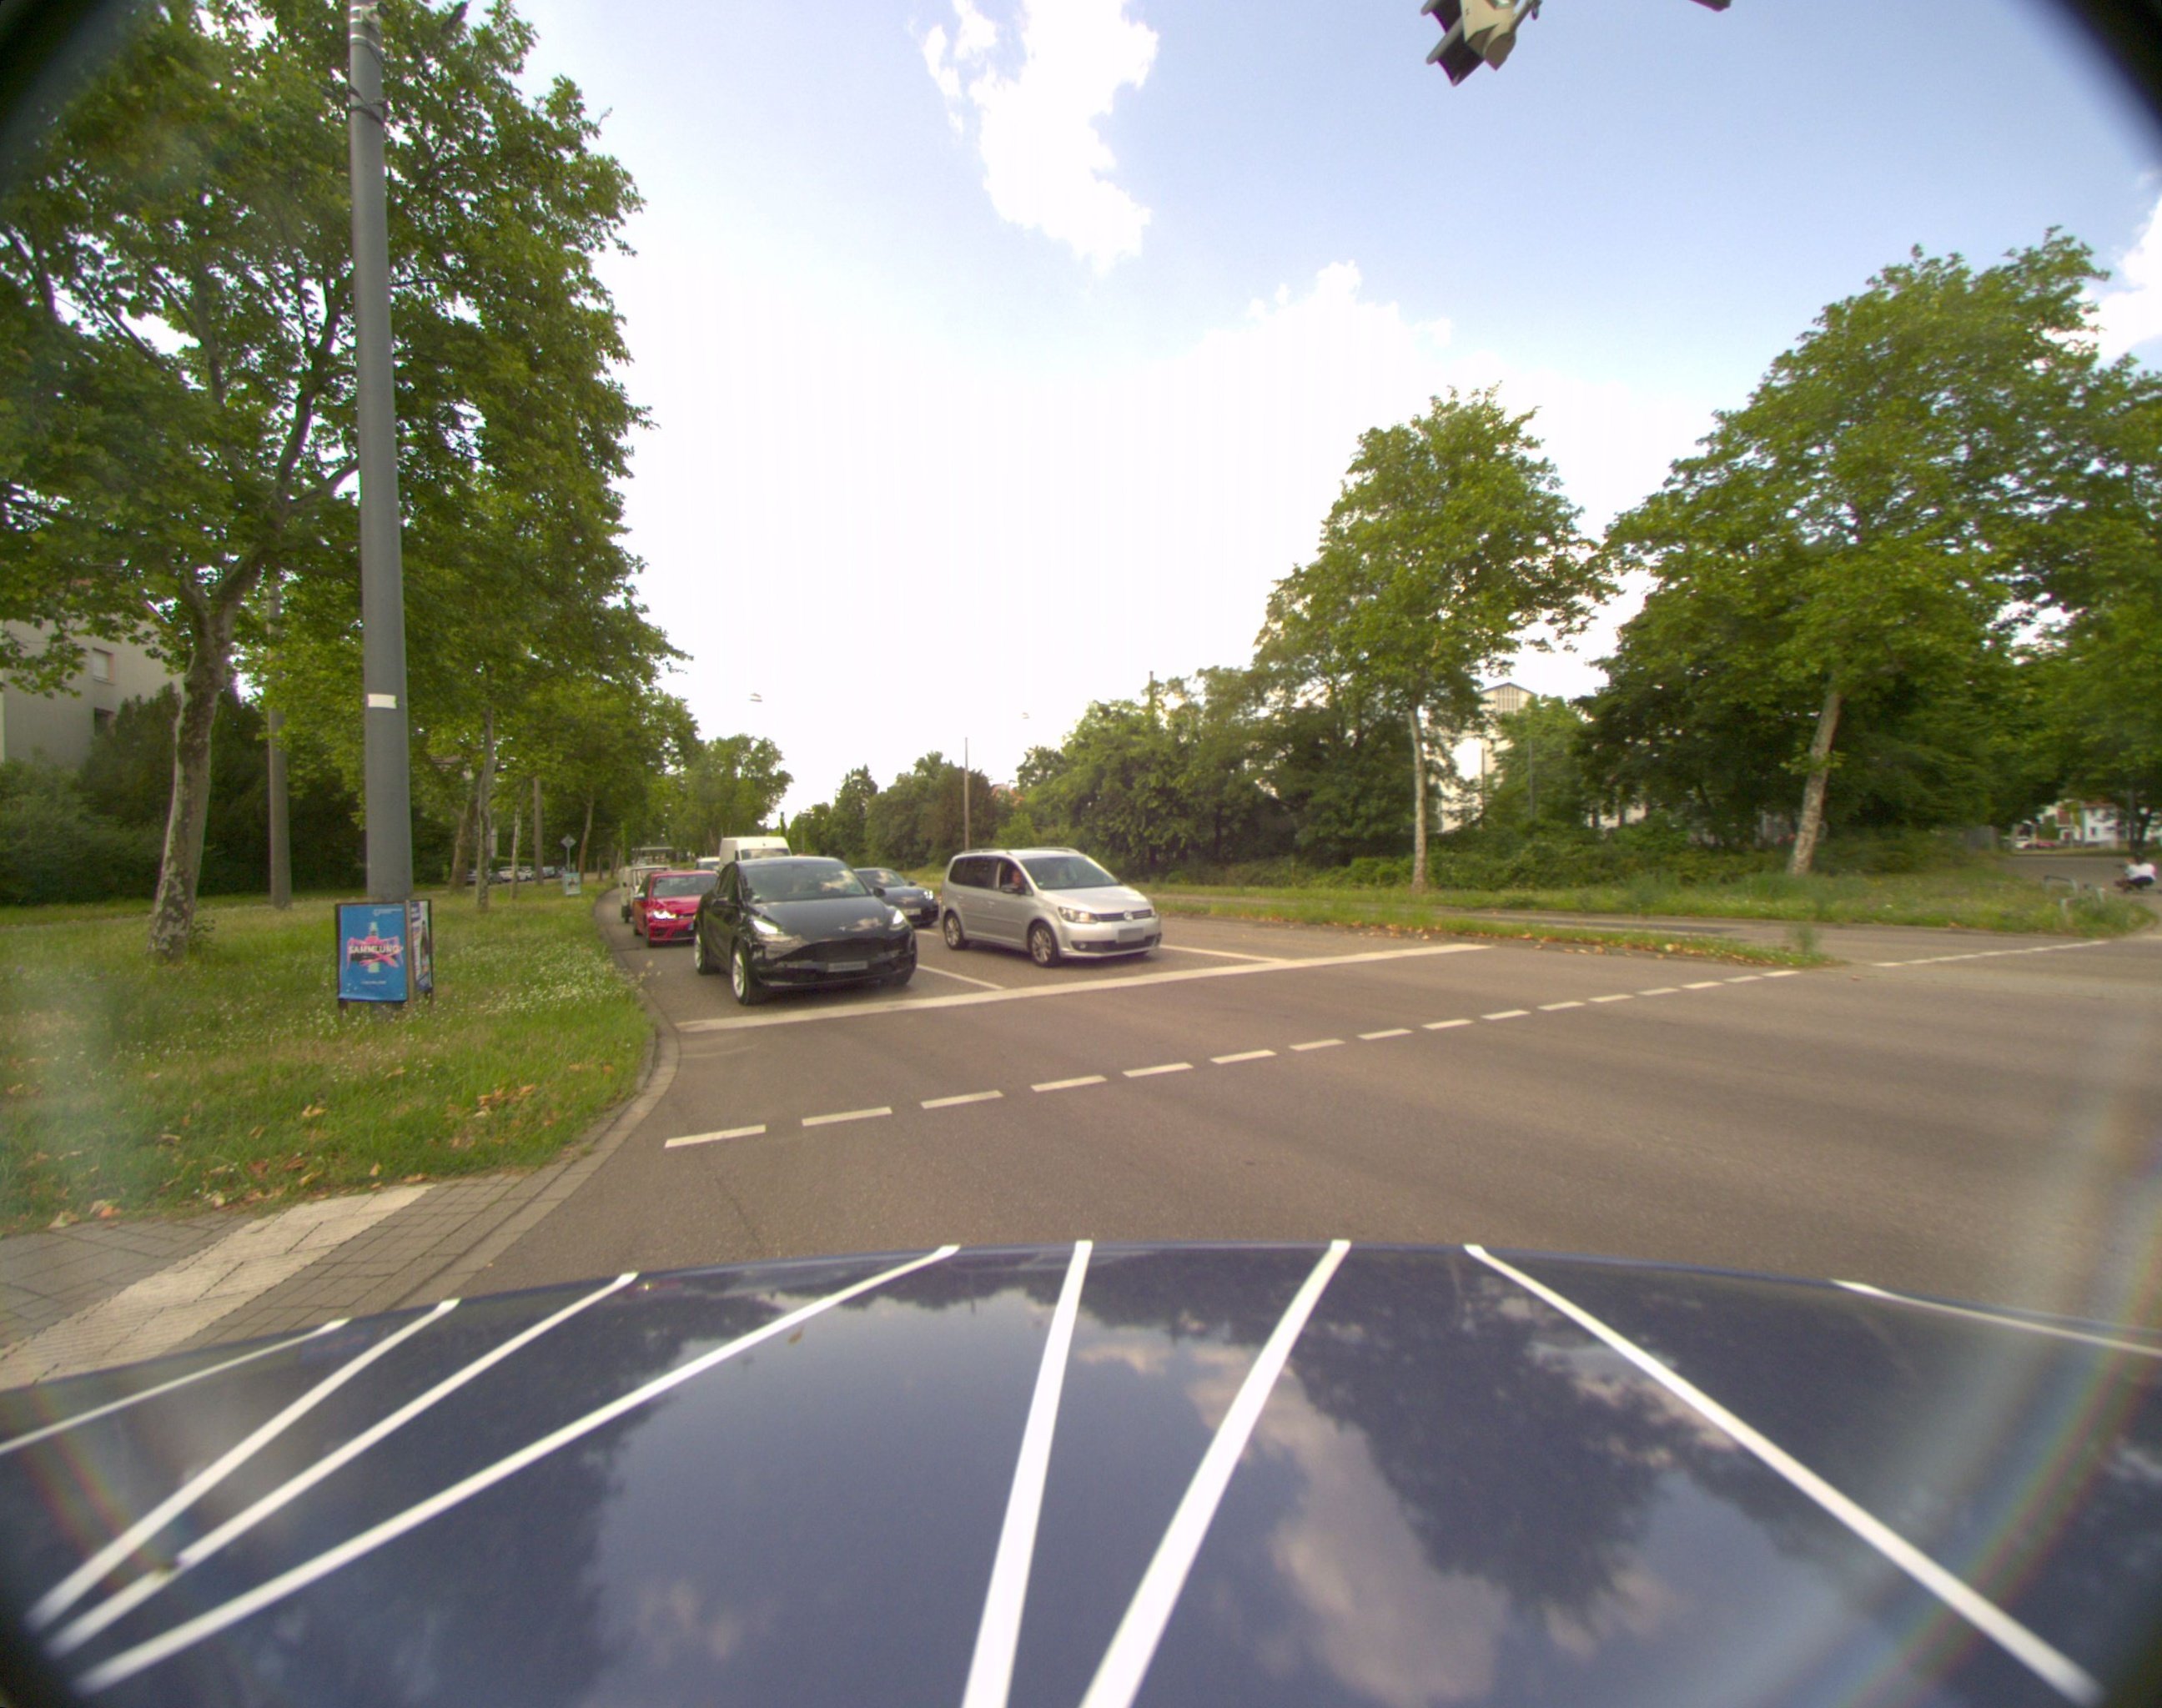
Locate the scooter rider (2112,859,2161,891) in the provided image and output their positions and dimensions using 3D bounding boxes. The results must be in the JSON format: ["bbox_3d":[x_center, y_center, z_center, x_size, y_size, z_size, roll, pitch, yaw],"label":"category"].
[{"bbox_3d":[24.542,0.486,17.676,0.861,0.724,0.611,-1,-1,-37],"label":"scooter rider"}]

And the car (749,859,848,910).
[{"bbox_3d":[-8.881,0.877,23.661,1.768,1.367,4.332,-3,2,-36],"label":"car"}]

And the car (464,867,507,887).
[{"bbox_3d":[-50.302,1.967,64.226,1.778,1.586,3.651,-2,-1,-19],"label":"car"}]

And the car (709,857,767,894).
[{"bbox_3d":[-16.825,0.997,37.169,1.847,1.609,4.145,-3,1,-34],"label":"car"}]

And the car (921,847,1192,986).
[{"bbox_3d":[-0.594,0.777,11.699,1.934,1.643,4.490,-3,2,-36],"label":"car"}]

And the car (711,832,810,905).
[{"bbox_3d":[-12.845,0.516,30.171,2.231,2.516,5.917,-3,2,-36],"label":"car"}]

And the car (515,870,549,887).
[{"bbox_3d":[-55.350,2.461,76.655,1.778,1.586,3.651,-2,-1,-19],"label":"car"}]

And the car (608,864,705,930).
[{"bbox_3d":[-12.031,1.112,21.391,1.805,1.561,4.490,-3,2,-36],"label":"car"}]

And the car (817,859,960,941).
[{"bbox_3d":[-4.431,0.924,17.089,1.807,1.499,3.990,-4,2,-34],"label":"car"}]

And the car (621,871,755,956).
[{"bbox_3d":[-8.382,1.117,15.998,1.805,1.383,4.490,-3,2,-36],"label":"car"}]

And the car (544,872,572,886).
[{"bbox_3d":[-59.688,2.871,86.766,1.778,1.586,3.651,-2,-1,-19],"label":"car"}]

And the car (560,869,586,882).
[{"bbox_3d":[-62.841,2.679,93.998,1.778,1.586,3.651,-2,-1,-19],"label":"car"}]

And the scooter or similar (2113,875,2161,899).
[{"bbox_3d":[24.560,0.767,17.676,0.859,0.508,0.610,-1,-2,-38],"label":"scooter or similar"}]

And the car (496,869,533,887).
[{"bbox_3d":[-53.906,2.299,72.301,1.778,1.586,3.651,-2,-1,-19],"label":"car"}]

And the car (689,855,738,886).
[{"bbox_3d":[-21.250,0.917,43.850,1.768,1.637,4.332,-1,0,-36],"label":"car"}]

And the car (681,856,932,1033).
[{"bbox_3d":[-3.774,0.898,9.837,1.935,1.643,4.568,-3,2,-34],"label":"car"}]
